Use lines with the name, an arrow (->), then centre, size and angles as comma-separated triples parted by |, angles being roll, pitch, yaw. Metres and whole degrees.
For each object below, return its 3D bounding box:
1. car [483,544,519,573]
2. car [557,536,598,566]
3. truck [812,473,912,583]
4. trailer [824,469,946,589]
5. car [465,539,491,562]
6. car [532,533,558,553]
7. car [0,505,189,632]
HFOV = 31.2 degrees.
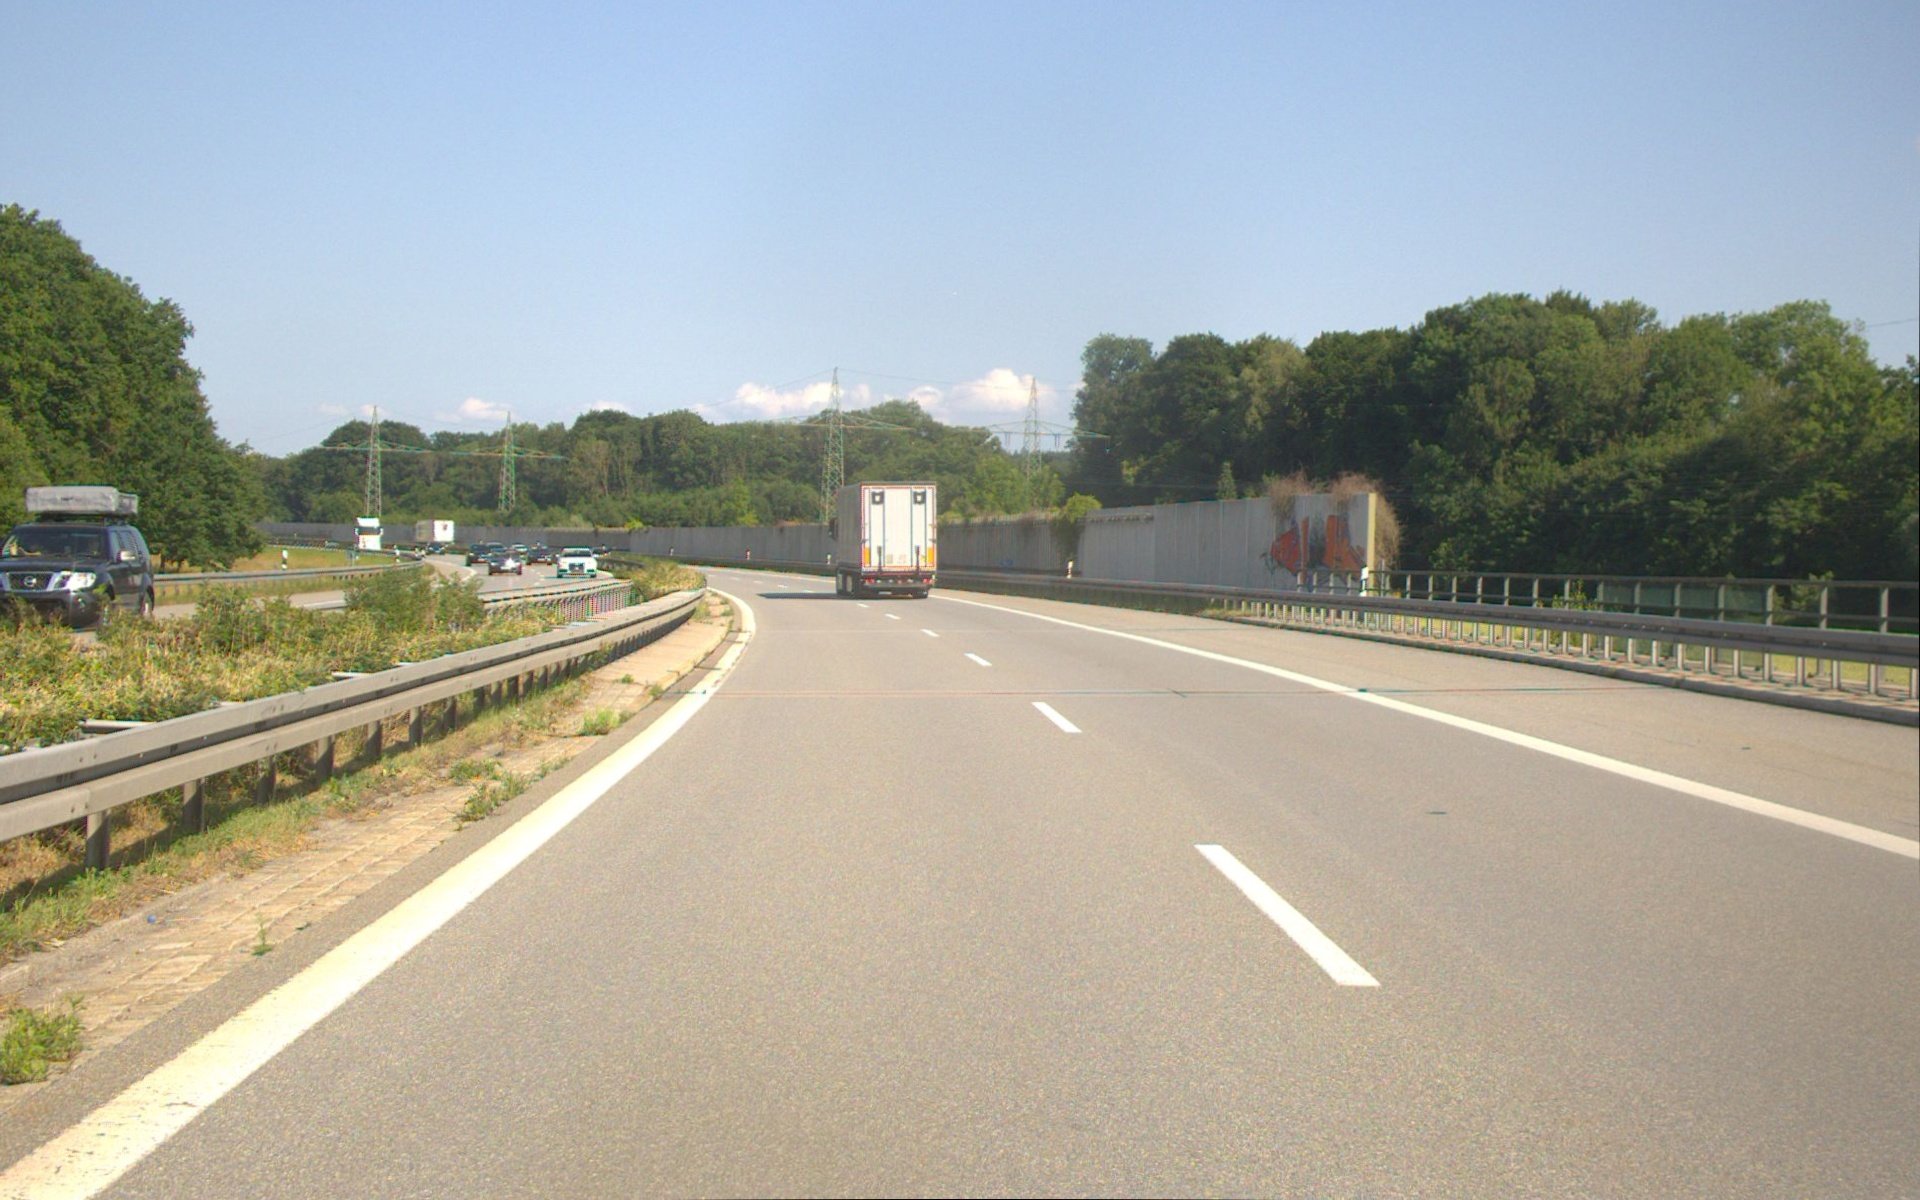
car -> -24.534, -2.209, 183.624 | 1.772, 1.465, 4.508 | 1, 1, -9
car -> -18.628, -2.406, 167.582 | 1.820, 1.429, 4.651 | 1, 1, -5
truck -> -3.722, -2.683, 129.111 | 2.829, 3.998, 6.589 | 0, 1, -10
trailer -> -2.779, -2.504, 122.567 | 2.883, 4.052, 12.423 | 0, 1, -8
car -> -35.156, -3.593, 250.641 | 1.853, 1.628, 4.495 | 0, 1, -9
car -> -30.604, -4.188, 253.586 | 1.853, 1.477, 4.001 | 0, 1, -8
car -> -12.445, -0.466, 48.727 | 1.993, 1.673, 5.318 | -1, 1, -2
